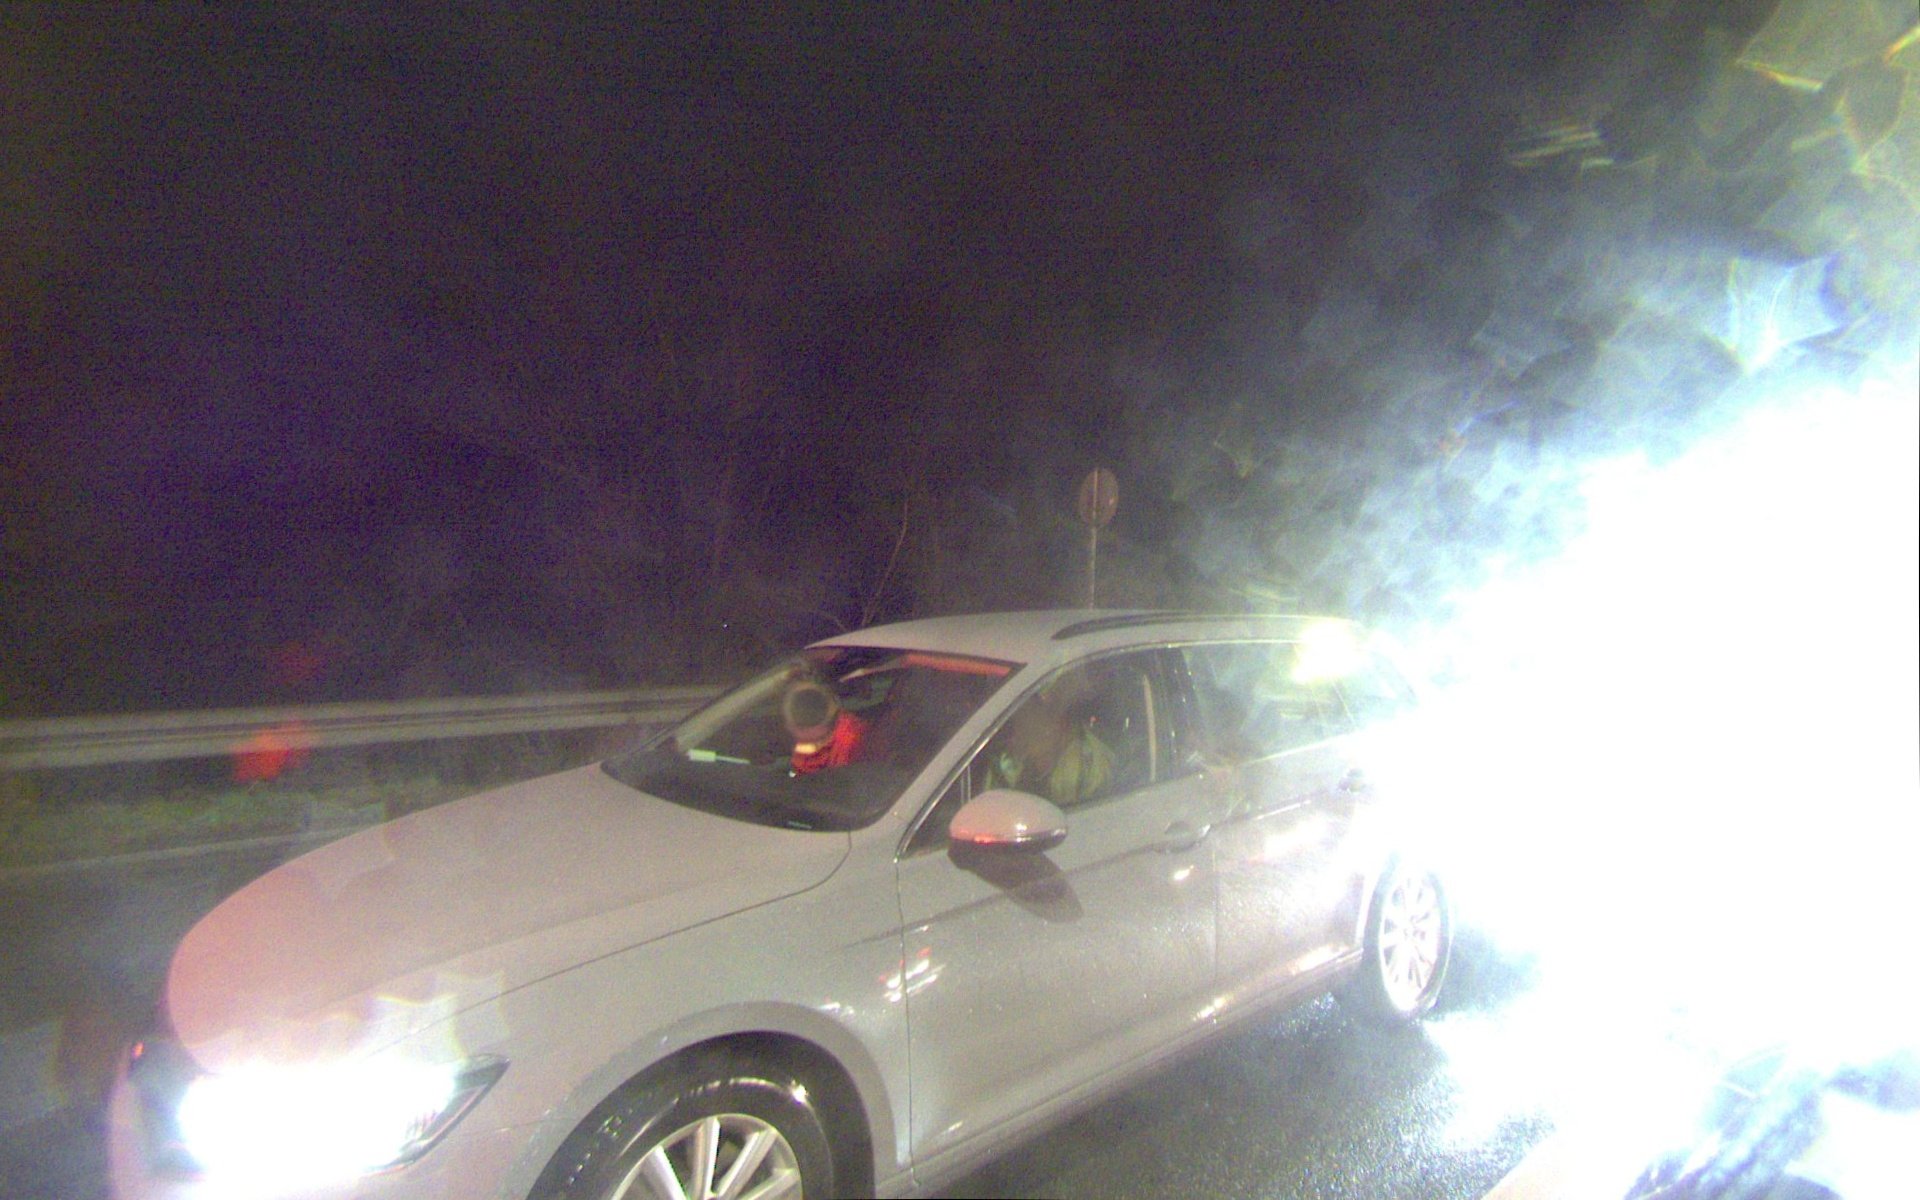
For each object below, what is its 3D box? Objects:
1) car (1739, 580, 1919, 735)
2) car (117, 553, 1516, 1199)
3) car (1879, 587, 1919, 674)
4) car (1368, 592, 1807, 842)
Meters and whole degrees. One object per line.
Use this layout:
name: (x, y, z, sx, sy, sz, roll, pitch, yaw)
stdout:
car: (11.454, 0.587, 12.566, 4.315, 1.618, 1.997, -1, 2, -41)
car: (0.046, 0.686, 3.346, 4.336, 1.541, 1.710, -1, 0, -40)
car: (19.925, 0.566, 20.078, 4.315, 1.618, 1.997, -1, 2, -41)
car: (5.025, 0.669, 7.878, 4.067, 1.435, 1.742, -1, 0, -40)
